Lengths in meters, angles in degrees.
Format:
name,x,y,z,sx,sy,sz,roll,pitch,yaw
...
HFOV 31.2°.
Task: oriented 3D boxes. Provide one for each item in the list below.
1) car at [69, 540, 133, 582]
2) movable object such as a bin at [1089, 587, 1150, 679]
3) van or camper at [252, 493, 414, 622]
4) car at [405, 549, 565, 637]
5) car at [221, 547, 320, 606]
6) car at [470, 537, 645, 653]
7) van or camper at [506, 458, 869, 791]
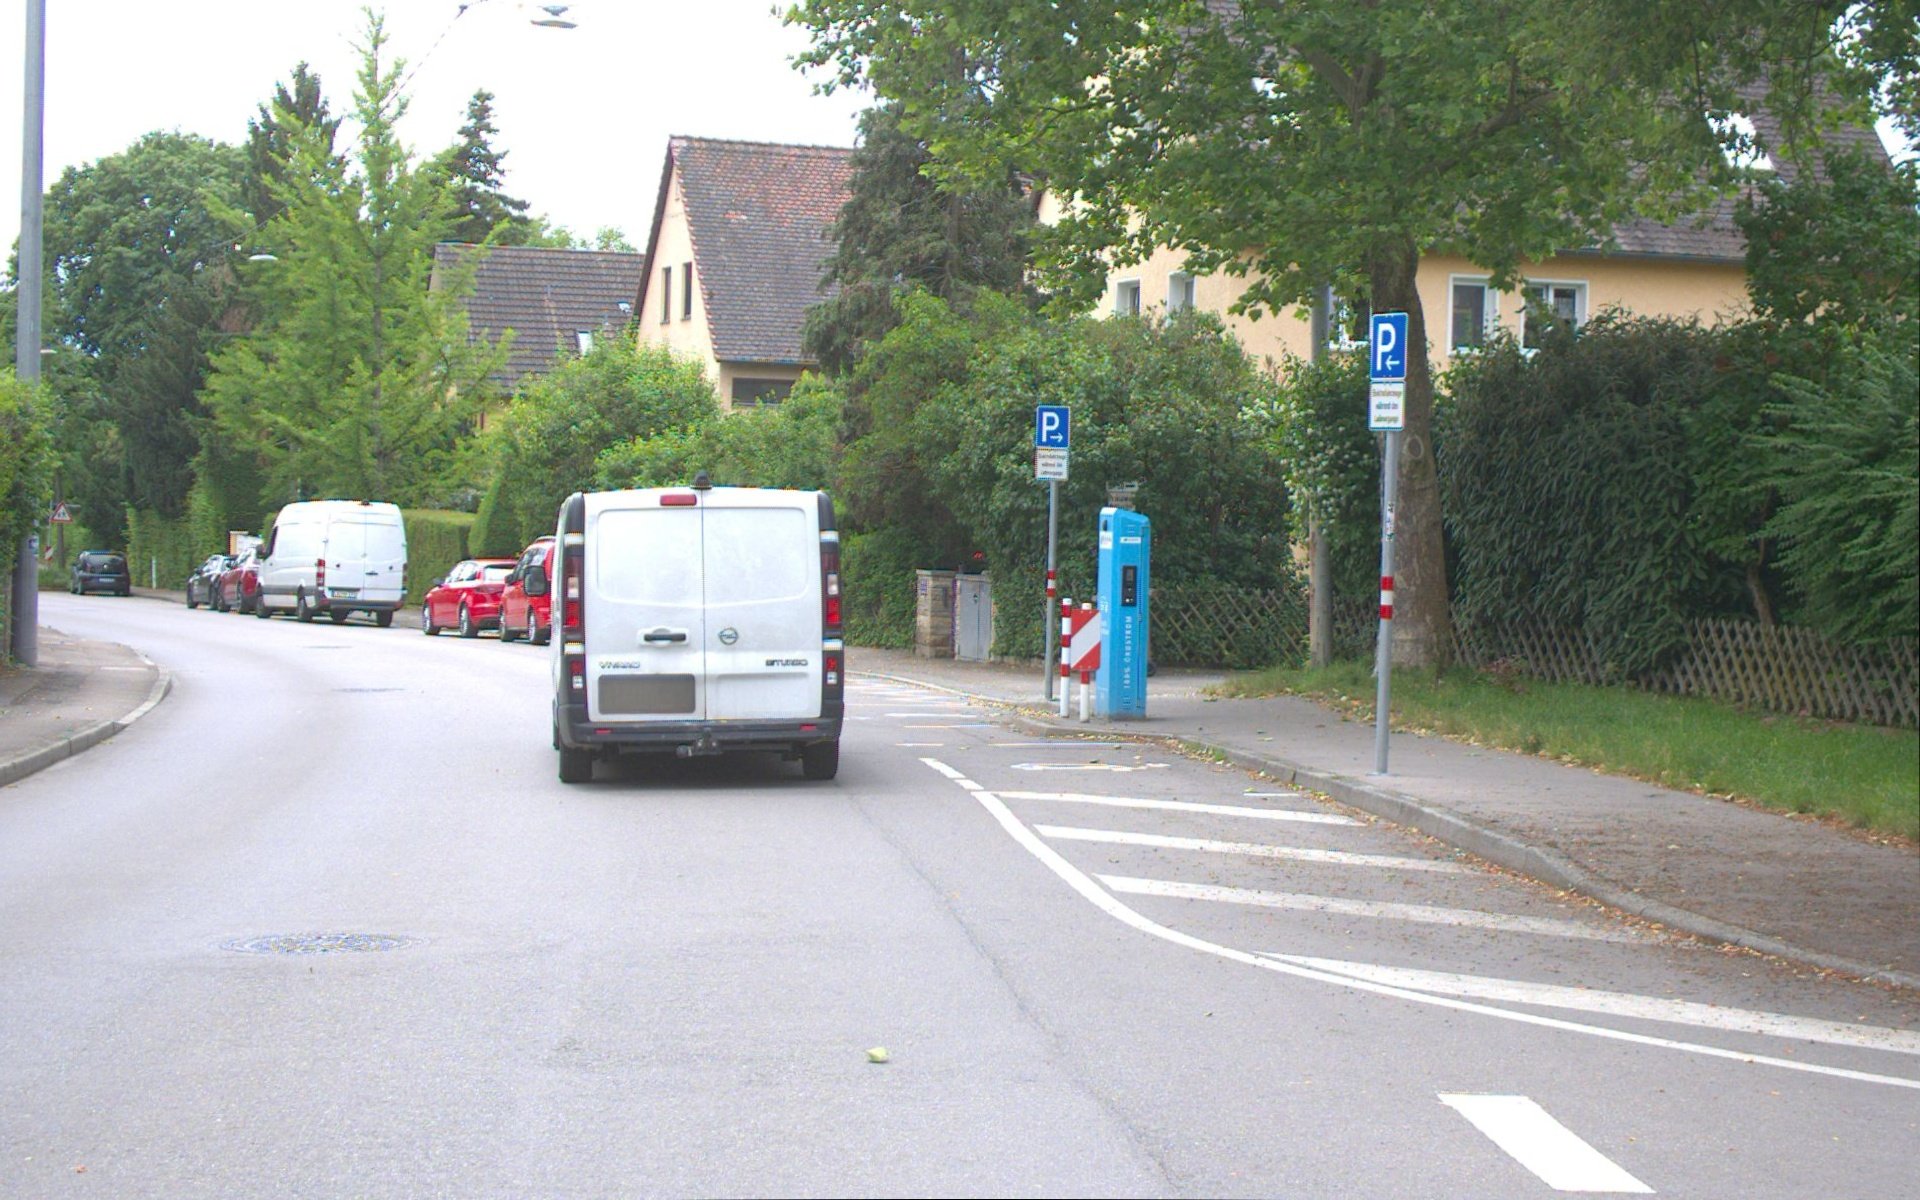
name,x,y,z,sx,sy,sz,roll,pitch,yaw
car,-28.285,-1.302,113.177,1.530,1.300,3.228,2,1,-23
movable object such as a bin,1.911,0.391,41.296,0.603,1.066,0.568,3,0,-6
van or camper,-13.760,-0.978,75.175,2.066,2.665,6.330,1,1,-23
car,-8.646,-0.149,62.325,1.712,1.462,4.269,2,1,-24
car,-16.508,-0.571,82.233,1.530,1.300,4.032,2,1,-23
car,-6.771,-0.114,57.454,1.760,1.791,4.950,2,1,-20
van or camper,-2.026,0.069,24.099,1.923,2.006,4.831,2,2,-11
